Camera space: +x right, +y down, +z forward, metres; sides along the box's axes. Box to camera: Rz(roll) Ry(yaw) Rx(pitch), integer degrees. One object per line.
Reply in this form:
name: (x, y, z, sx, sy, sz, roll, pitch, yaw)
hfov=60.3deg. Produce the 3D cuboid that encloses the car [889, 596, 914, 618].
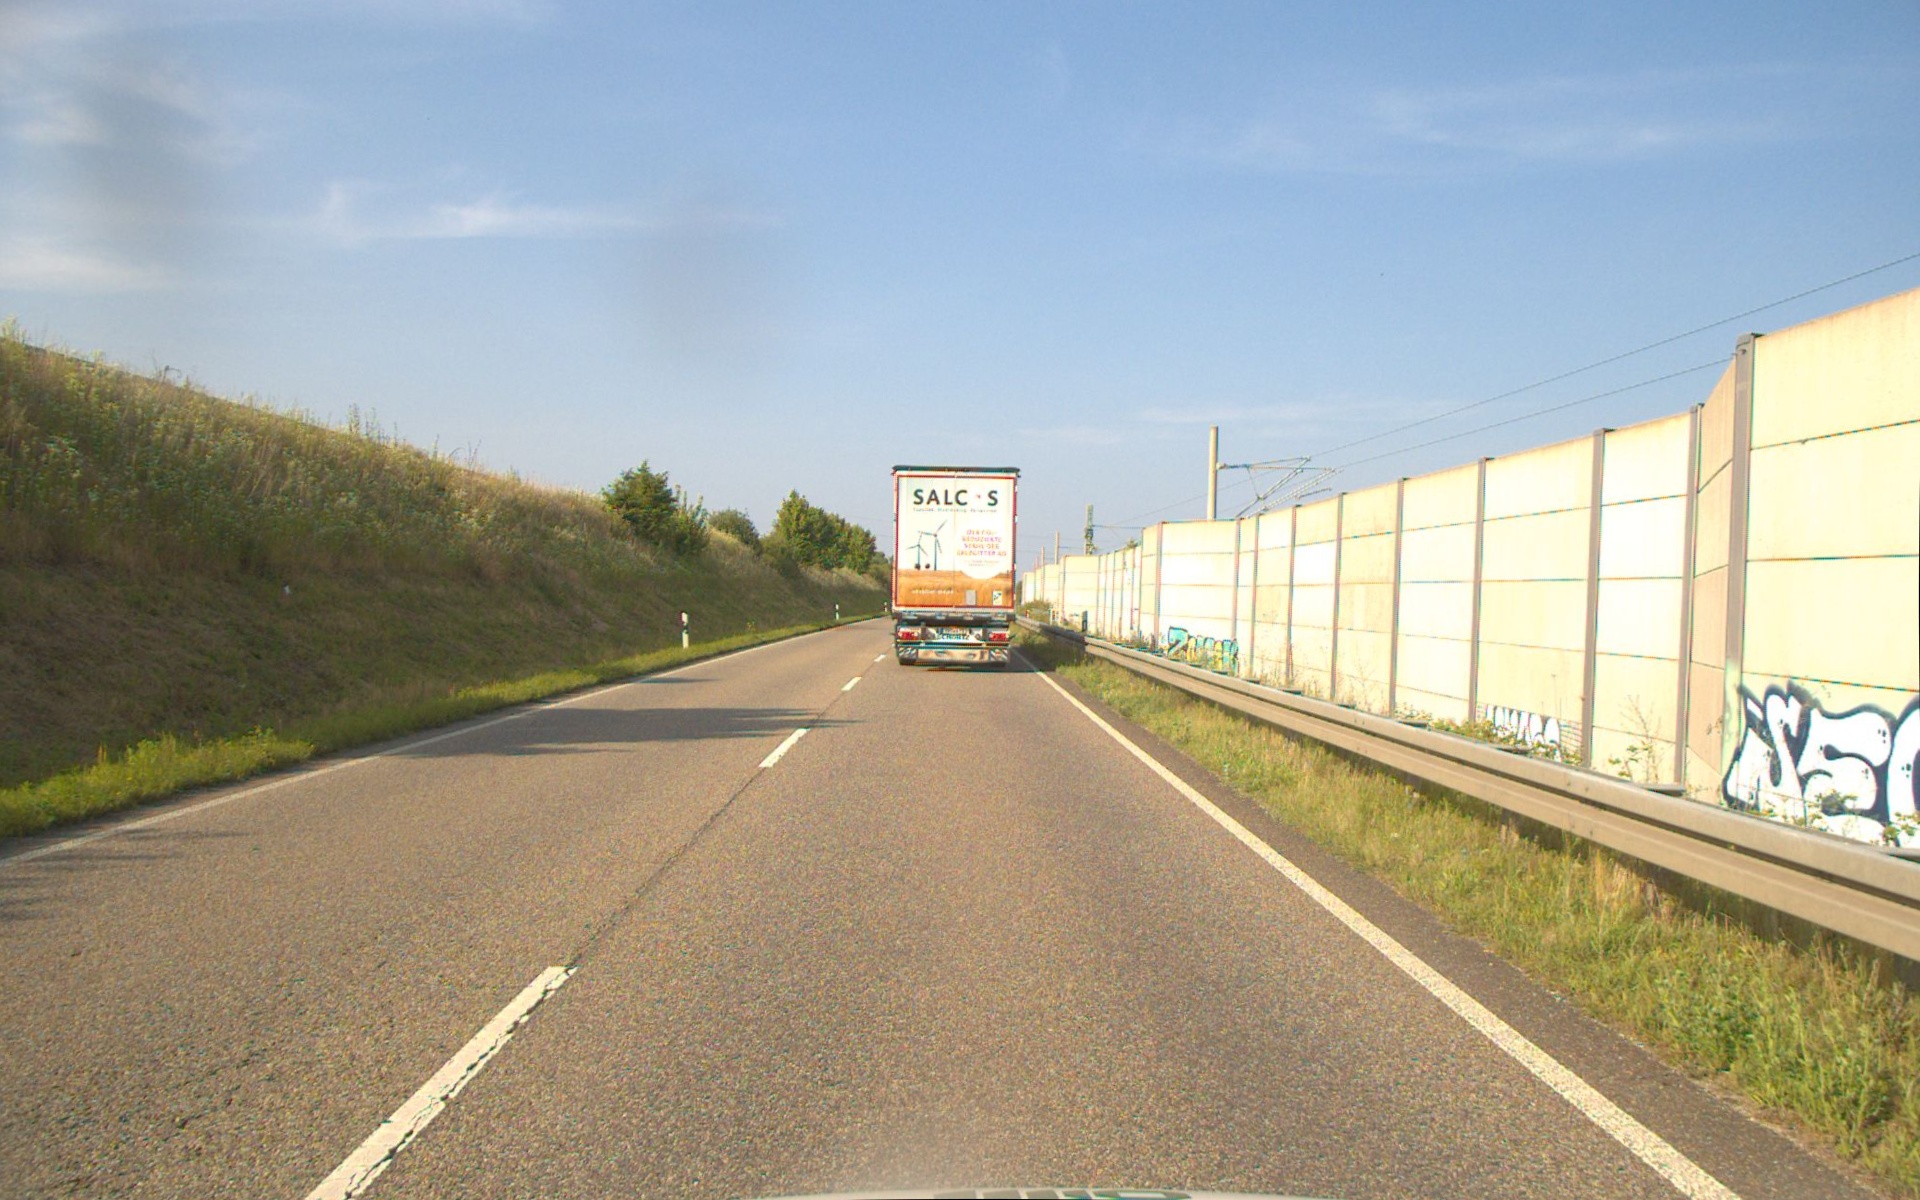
car: (-4.130, 0.495, 117.736, 1.682, 1.479, 4.017, 1, 0, -2)

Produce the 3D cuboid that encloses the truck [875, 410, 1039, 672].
truck: (-0.048, -1.200, 39.005, 3.223, 5.179, 12.037, 1, 0, 0)
